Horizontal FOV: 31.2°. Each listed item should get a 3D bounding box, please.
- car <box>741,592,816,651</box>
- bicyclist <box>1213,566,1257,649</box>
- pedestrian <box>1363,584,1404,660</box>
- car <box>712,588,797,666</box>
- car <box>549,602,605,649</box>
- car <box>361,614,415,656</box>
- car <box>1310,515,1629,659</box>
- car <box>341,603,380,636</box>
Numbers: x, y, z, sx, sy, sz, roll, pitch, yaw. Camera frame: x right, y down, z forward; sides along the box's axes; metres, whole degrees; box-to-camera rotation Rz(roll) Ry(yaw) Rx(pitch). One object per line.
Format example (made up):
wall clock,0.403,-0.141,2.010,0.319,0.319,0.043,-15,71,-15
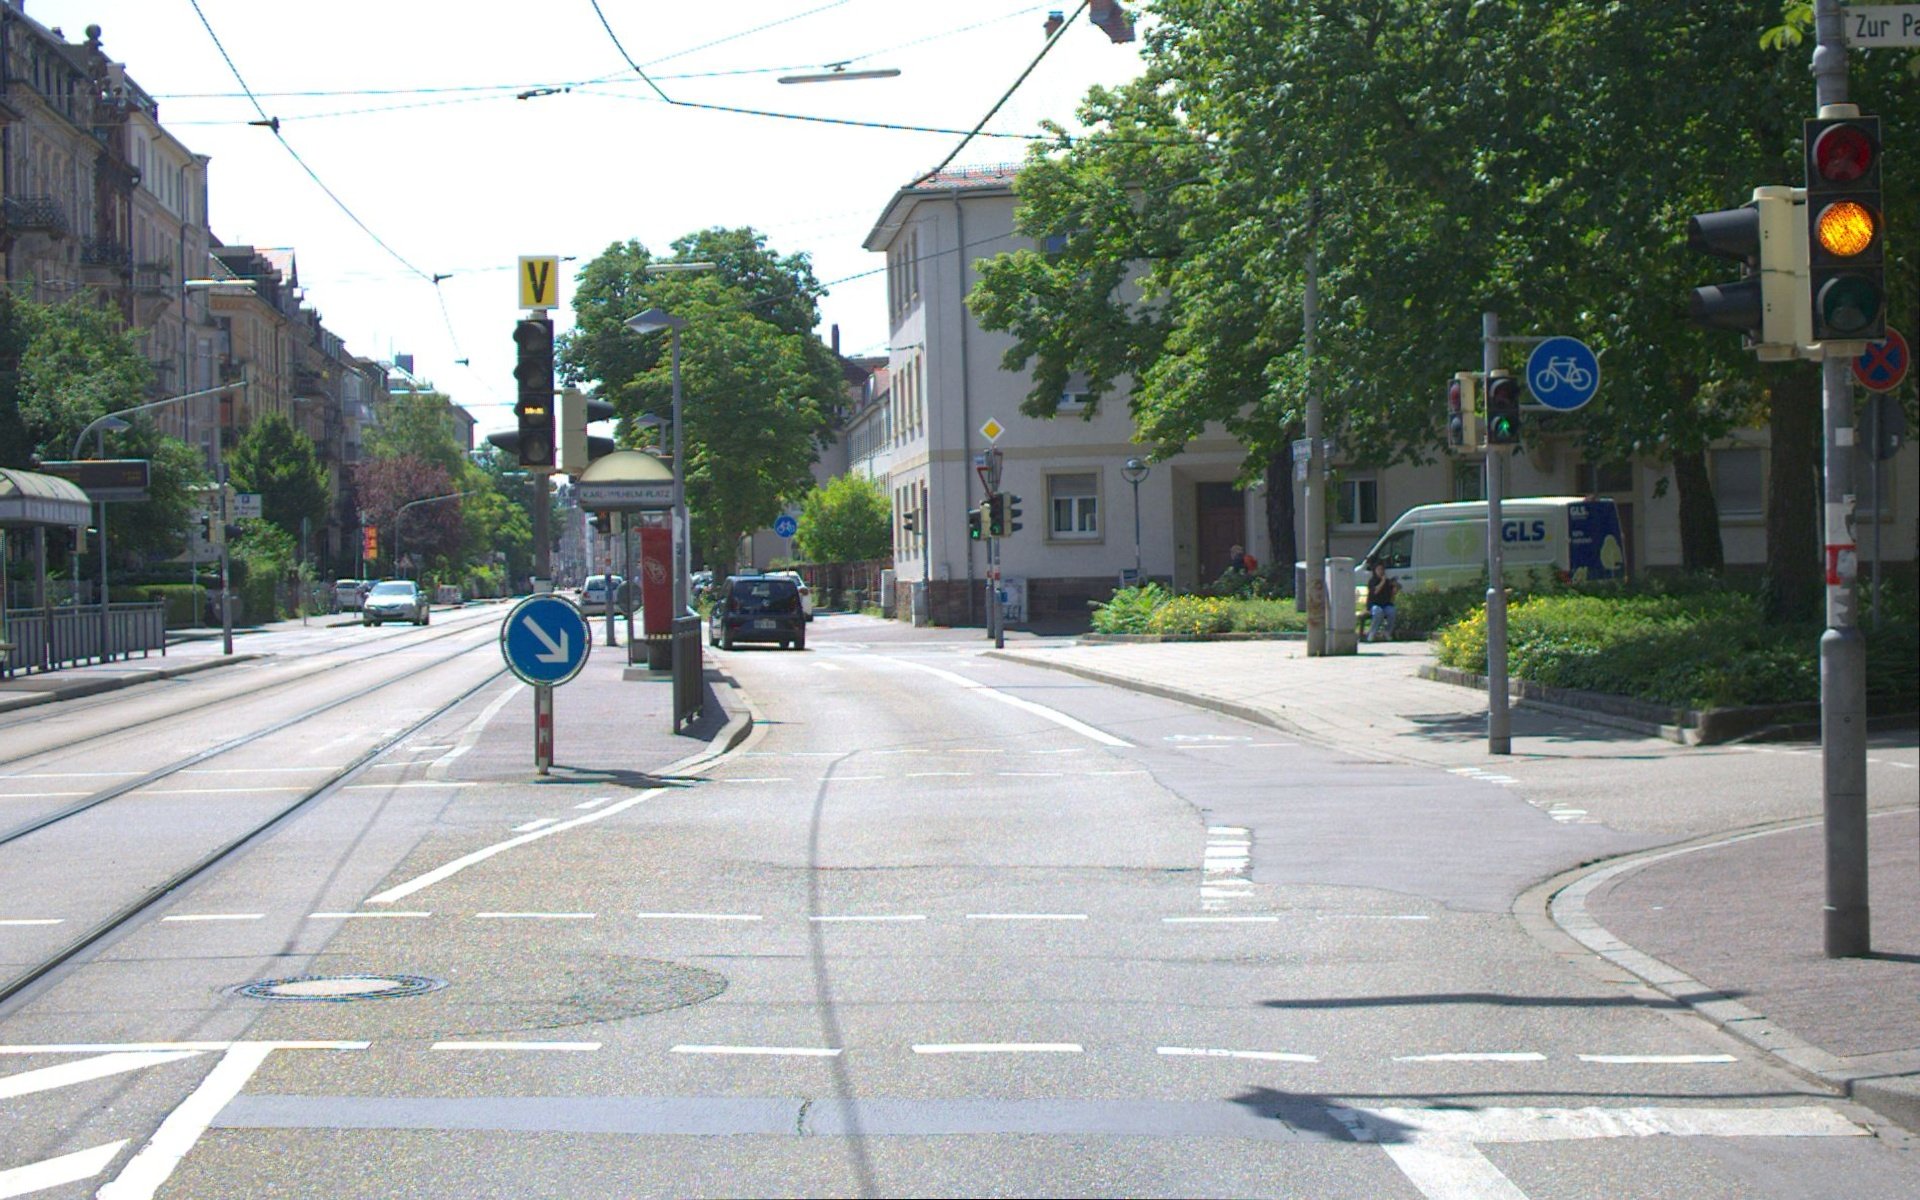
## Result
car,-5.008,0.590,94.622,1.747,1.468,3.939,-4,0,-6
bicyclist,5.498,0.152,68.674,0.694,1.640,0.579,-1,-1,28
pedestrian,6.294,0.326,51.123,0.509,1.088,0.478,-3,1,0
car,-4.091,0.534,68.089,1.524,1.439,3.365,-2,0,-5
car,-12.647,0.851,113.332,1.524,1.451,3.365,-2,0,-11
car,-18.304,1.121,110.119,1.540,1.334,3.720,0,-1,-7
car,9.481,-0.229,64.405,5.847,2.581,1.995,-1,0,45
car,-29.859,0.976,171.209,1.684,1.468,3.939,-4,0,-8
